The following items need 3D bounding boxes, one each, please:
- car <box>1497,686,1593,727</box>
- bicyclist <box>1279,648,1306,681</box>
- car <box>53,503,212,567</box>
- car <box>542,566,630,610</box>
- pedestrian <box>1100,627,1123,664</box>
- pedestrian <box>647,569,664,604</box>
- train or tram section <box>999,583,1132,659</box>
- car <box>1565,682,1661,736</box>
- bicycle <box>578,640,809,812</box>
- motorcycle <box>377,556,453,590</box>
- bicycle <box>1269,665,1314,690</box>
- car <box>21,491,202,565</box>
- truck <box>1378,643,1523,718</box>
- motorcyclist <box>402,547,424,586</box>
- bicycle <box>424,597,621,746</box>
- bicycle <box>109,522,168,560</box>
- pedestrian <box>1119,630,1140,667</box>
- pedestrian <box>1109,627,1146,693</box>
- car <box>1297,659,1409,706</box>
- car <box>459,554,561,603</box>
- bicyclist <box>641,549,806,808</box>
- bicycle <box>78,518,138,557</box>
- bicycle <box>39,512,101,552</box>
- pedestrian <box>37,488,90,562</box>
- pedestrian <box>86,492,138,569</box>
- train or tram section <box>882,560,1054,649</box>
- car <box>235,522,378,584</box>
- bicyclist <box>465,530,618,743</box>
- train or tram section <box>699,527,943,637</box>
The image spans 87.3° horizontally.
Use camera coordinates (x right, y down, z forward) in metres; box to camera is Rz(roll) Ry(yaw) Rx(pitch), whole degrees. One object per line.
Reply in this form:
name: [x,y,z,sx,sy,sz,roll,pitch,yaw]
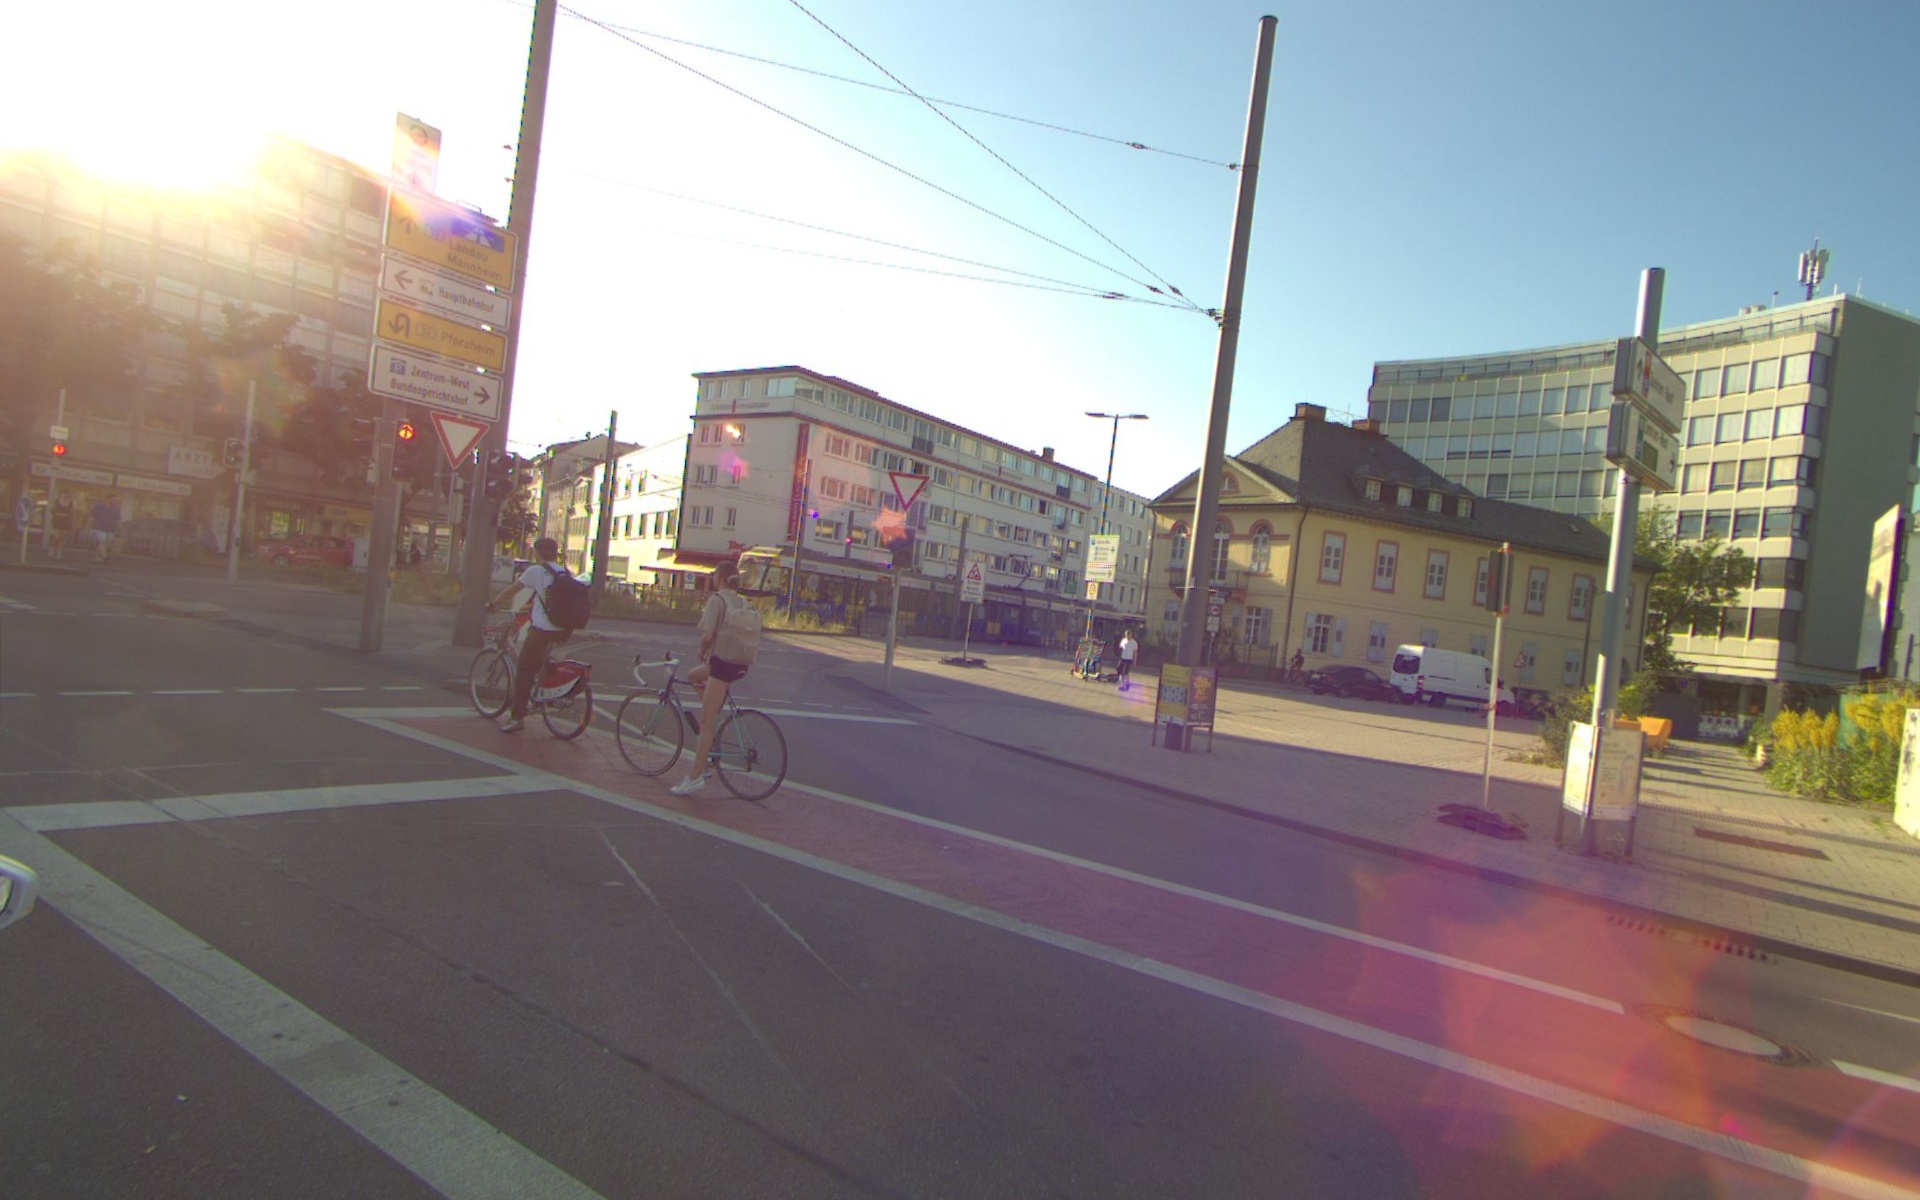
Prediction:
car: [27.093,4.924,46.591,3.706,1.380,1.709,8,-2,-17]
bicyclist: [16.265,3.133,49.220,0.885,1.474,0.721,8,-1,-20]
car: [-30.310,-2.345,36.949,1.816,1.636,4.071,6,-2,36]
car: [-18.554,-0.548,50.088,1.810,1.636,4.003,7,-2,20]
pedestrian: [7.227,2.181,47.970,0.802,1.661,0.687,7,-1,13]
pedestrian: [-18.130,-0.813,59.856,0.621,2.037,0.710,8,-1,-30]
train or tram section: [7.733,1.653,71.030,3.655,3.877,12.960,6,-2,32]
car: [31.151,5.203,47.978,3.706,2.003,1.709,8,-2,-17]
bicycle: [-2.041,0.918,7.647,1.664,1.013,0.543,6,-1,27]
motorcycle: [-22.241,-1.085,41.118,0.527,1.013,2.664,6,-2,36]
bicycle: [16.229,3.786,49.225,1.964,0.959,0.721,8,-2,-20]
car: [-26.900,-2.258,32.012,1.816,1.636,3.990,6,-2,36]
truck: [21.832,3.575,44.808,5.556,2.578,2.294,8,-2,-17]
motorcyclist: [-22.292,-1.355,41.013,0.527,1.526,0.460,6,-1,37]
bicycle: [-4.039,0.636,9.252,1.777,1.113,0.543,6,-1,27]
bicycle: [-33.431,-2.401,40.943,2.594,1.157,0.751,9,0,26]
pedestrian: [8.088,2.303,48.001,0.802,1.661,0.687,7,-1,13]
pedestrian: [4.810,1.737,28.883,0.746,1.783,1.009,7,-1,16]
car: [16.621,3.482,42.594,4.133,1.380,1.709,8,-2,-17]
car: [-20.031,-0.916,44.990,1.809,1.636,4.004,7,-2,18]
bicyclist: [-1.749,0.568,7.485,0.778,1.766,0.615,7,-1,27]
bicycle: [-33.919,-2.502,40.031,2.594,1.157,0.751,9,0,26]
bicycle: [-34.497,-2.629,38.986,2.594,1.157,0.751,9,0,26]
pedestrian: [-22.252,-1.857,24.963,1.027,1.702,0.695,6,-1,40]
pedestrian: [-21.389,-1.754,25.377,1.027,1.814,0.694,6,-1,41]
train or tram section: [0.862,0.490,60.188,3.655,3.878,12.955,6,-2,33]
car: [-24.470,-1.737,37.773,1.816,1.636,3.990,6,-2,36]
bicyclist: [-3.817,0.322,9.177,1.042,1.789,0.543,7,-1,27]
train or tram section: [-6.257,-0.626,49.314,3.656,3.880,13.326,6,-1,34]
